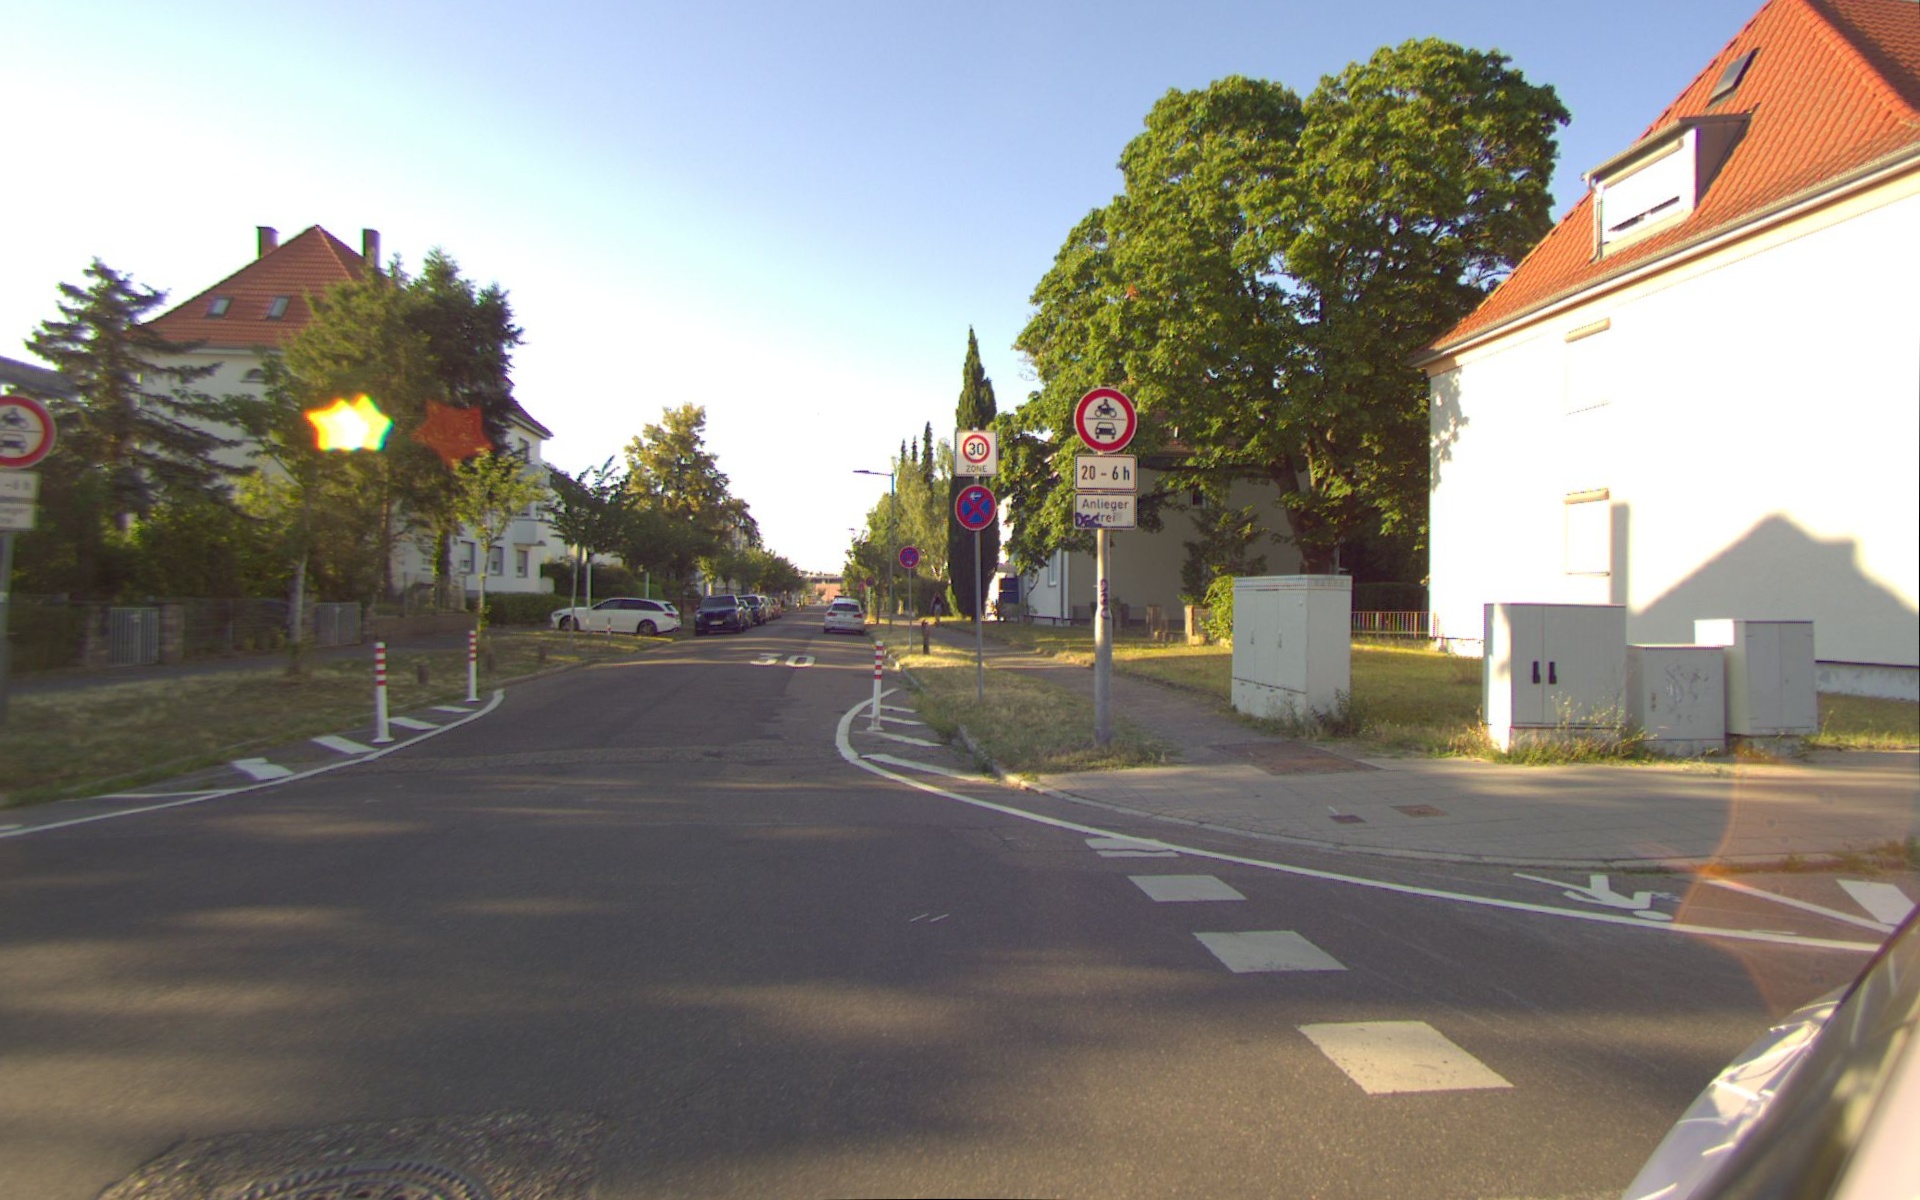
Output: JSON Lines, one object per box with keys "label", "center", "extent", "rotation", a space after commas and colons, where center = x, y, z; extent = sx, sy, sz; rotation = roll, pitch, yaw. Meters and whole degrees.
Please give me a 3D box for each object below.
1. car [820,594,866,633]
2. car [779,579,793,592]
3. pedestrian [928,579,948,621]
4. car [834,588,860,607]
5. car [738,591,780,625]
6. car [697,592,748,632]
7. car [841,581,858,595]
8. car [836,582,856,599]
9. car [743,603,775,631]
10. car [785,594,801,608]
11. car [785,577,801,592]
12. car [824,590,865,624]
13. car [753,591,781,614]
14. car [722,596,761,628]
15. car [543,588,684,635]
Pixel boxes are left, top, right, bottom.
{"label": "car", "center": [-5.179, 0.545, 44.501], "extent": [1.931, 1.634, 4.253], "rotation": [0, 0, -8]}
{"label": "car", "center": [-24.675, -2.021, 143.510], "extent": [1.931, 1.797, 4.255], "rotation": [0, 0, -10]}
{"label": "pedestrian", "center": [-1.075, -0.009, 49.763], "extent": [0.880, 2.039, 0.694], "rotation": [0, 0, -8]}
{"label": "car", "center": [-10.046, -0.226, 89.853], "extent": [1.931, 1.634, 4.255], "rotation": [0, 0, -10]}
{"label": "car", "center": [-9.931, 0.364, 50.153], "extent": [1.931, 1.634, 4.255], "rotation": [0, 0, -10]}
{"label": "car", "center": [-10.065, 0.460, 43.146], "extent": [1.931, 1.634, 4.255], "rotation": [0, 0, -10]}
{"label": "car", "center": [-13.145, -1.466, 120.572], "extent": [1.931, 1.634, 4.253], "rotation": [0, 0, -8]}
{"label": "car", "center": [-11.813, -0.984, 104.666], "extent": [1.931, 1.634, 4.253], "rotation": [0, 0, -8]}
{"label": "car", "center": [-12.628, 1.026, 63.646], "extent": [1.931, 1.634, 4.255], "rotation": [0, 0, -10]}
{"label": "car", "center": [-20.242, 0.124, 122.551], "extent": [1.931, 1.634, 4.254], "rotation": [0, 0, -9]}
{"label": "car", "center": [-21.494, -1.986, 130.143], "extent": [1.931, 1.797, 4.255], "rotation": [0, 0, -10]}
{"label": "car", "center": [-5.855, 0.335, 50.920], "extent": [1.931, 1.634, 4.253], "rotation": [0, 0, -8]}
{"label": "car", "center": [-14.101, 0.164, 73.944], "extent": [1.931, 1.634, 4.255], "rotation": [0, 0, -10]}
{"label": "car", "center": [-11.743, 0.612, 54.643], "extent": [1.931, 1.634, 4.255], "rotation": [0, 0, -10]}
{"label": "car", "center": [-12.992, 0.428, 38.188], "extent": [4.738, 1.634, 1.975], "rotation": [1, 0, -8]}
